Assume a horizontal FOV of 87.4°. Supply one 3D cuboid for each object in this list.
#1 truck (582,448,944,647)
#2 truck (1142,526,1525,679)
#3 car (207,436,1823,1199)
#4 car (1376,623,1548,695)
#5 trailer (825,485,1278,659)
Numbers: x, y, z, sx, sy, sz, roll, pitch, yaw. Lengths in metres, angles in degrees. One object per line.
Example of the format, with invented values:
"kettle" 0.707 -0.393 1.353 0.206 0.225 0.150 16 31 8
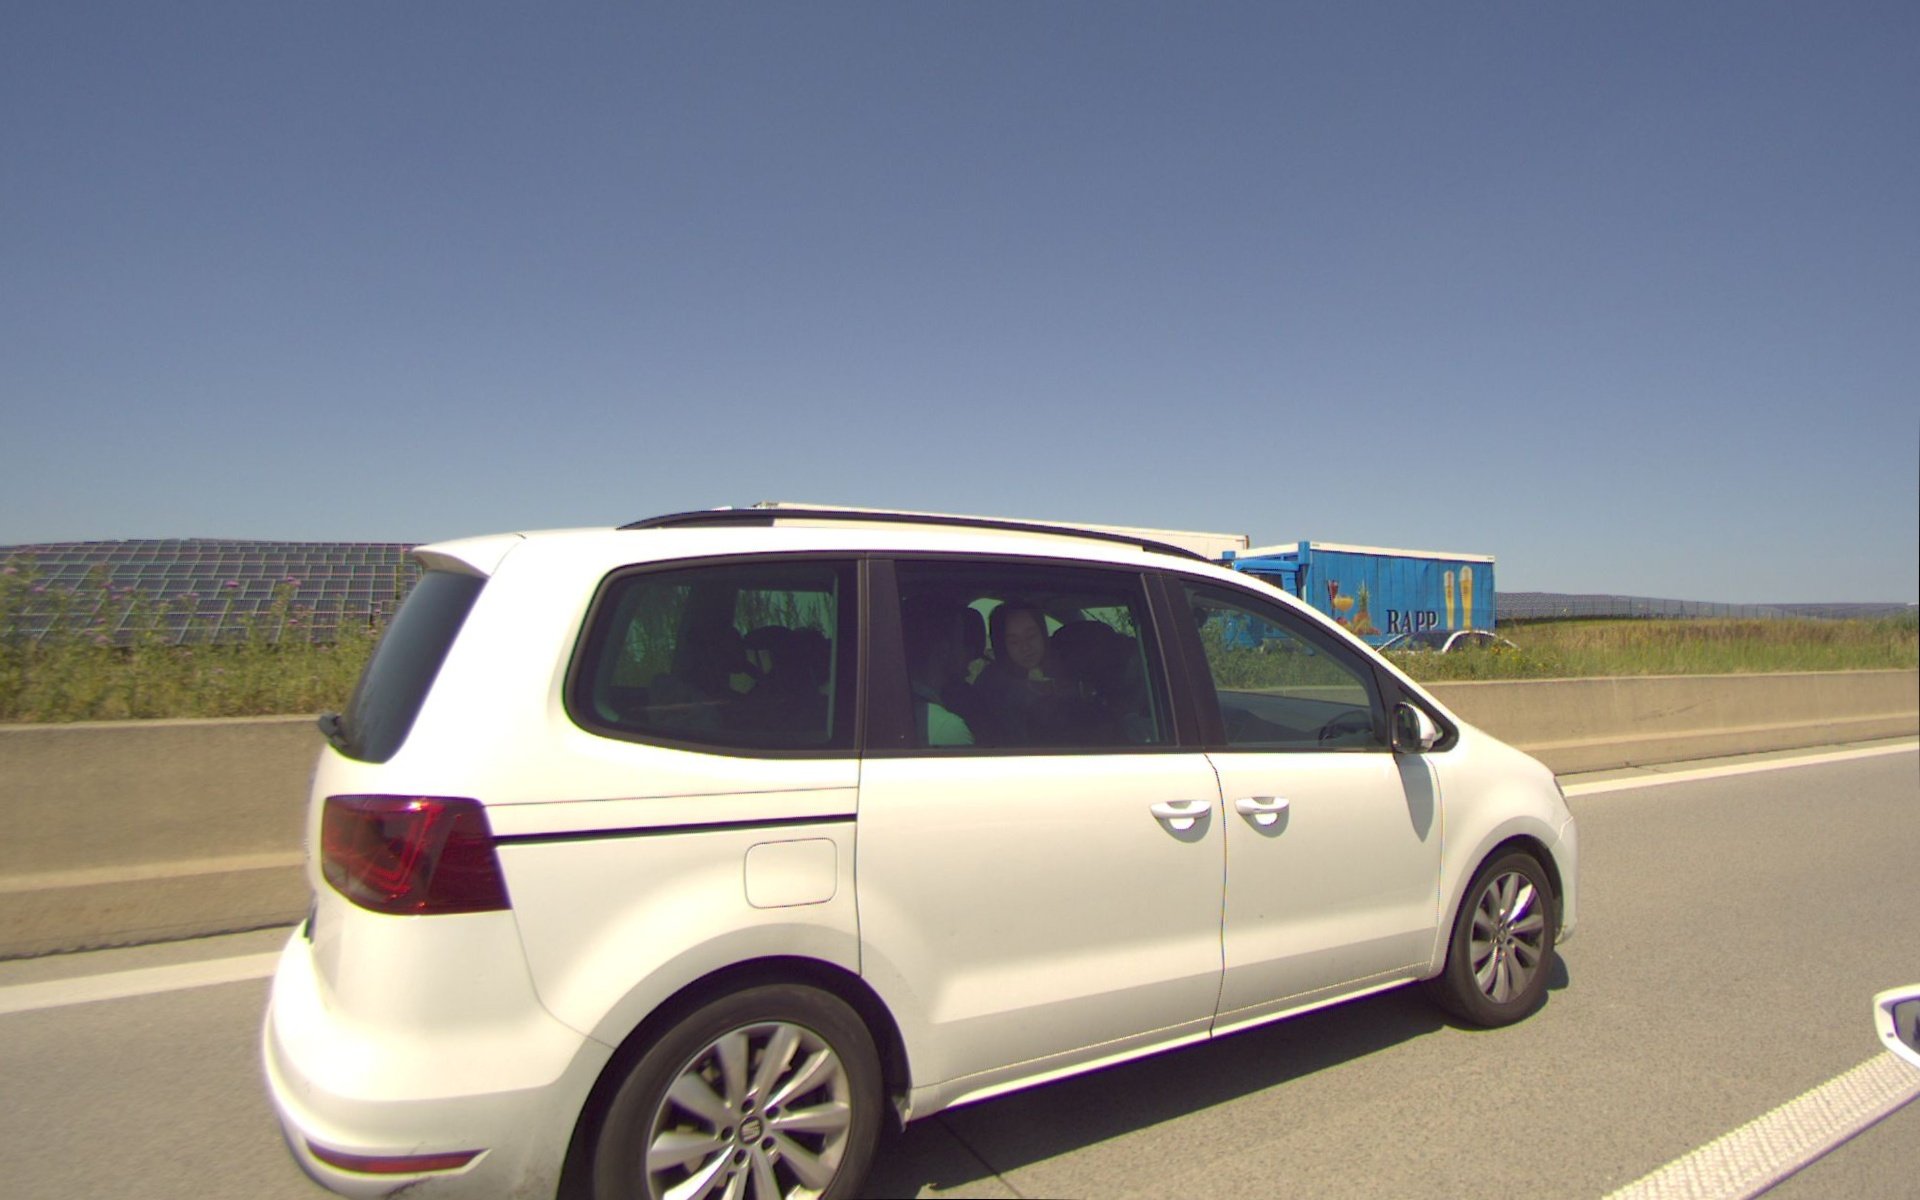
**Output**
"truck" -4.091 -0.884 21.211 6.804 3.533 3.108 2 0 -30
"truck" 9.288 0.190 24.278 10.255 3.104 2.810 2 0 -31
"car" 0.931 0.688 3.912 5.965 1.731 1.836 2 0 -30
"car" 10.191 1.179 20.350 3.446 1.317 1.445 2 0 -30
"trailer" 2.648 -0.433 25.130 11.625 3.571 3.060 2 0 -30
